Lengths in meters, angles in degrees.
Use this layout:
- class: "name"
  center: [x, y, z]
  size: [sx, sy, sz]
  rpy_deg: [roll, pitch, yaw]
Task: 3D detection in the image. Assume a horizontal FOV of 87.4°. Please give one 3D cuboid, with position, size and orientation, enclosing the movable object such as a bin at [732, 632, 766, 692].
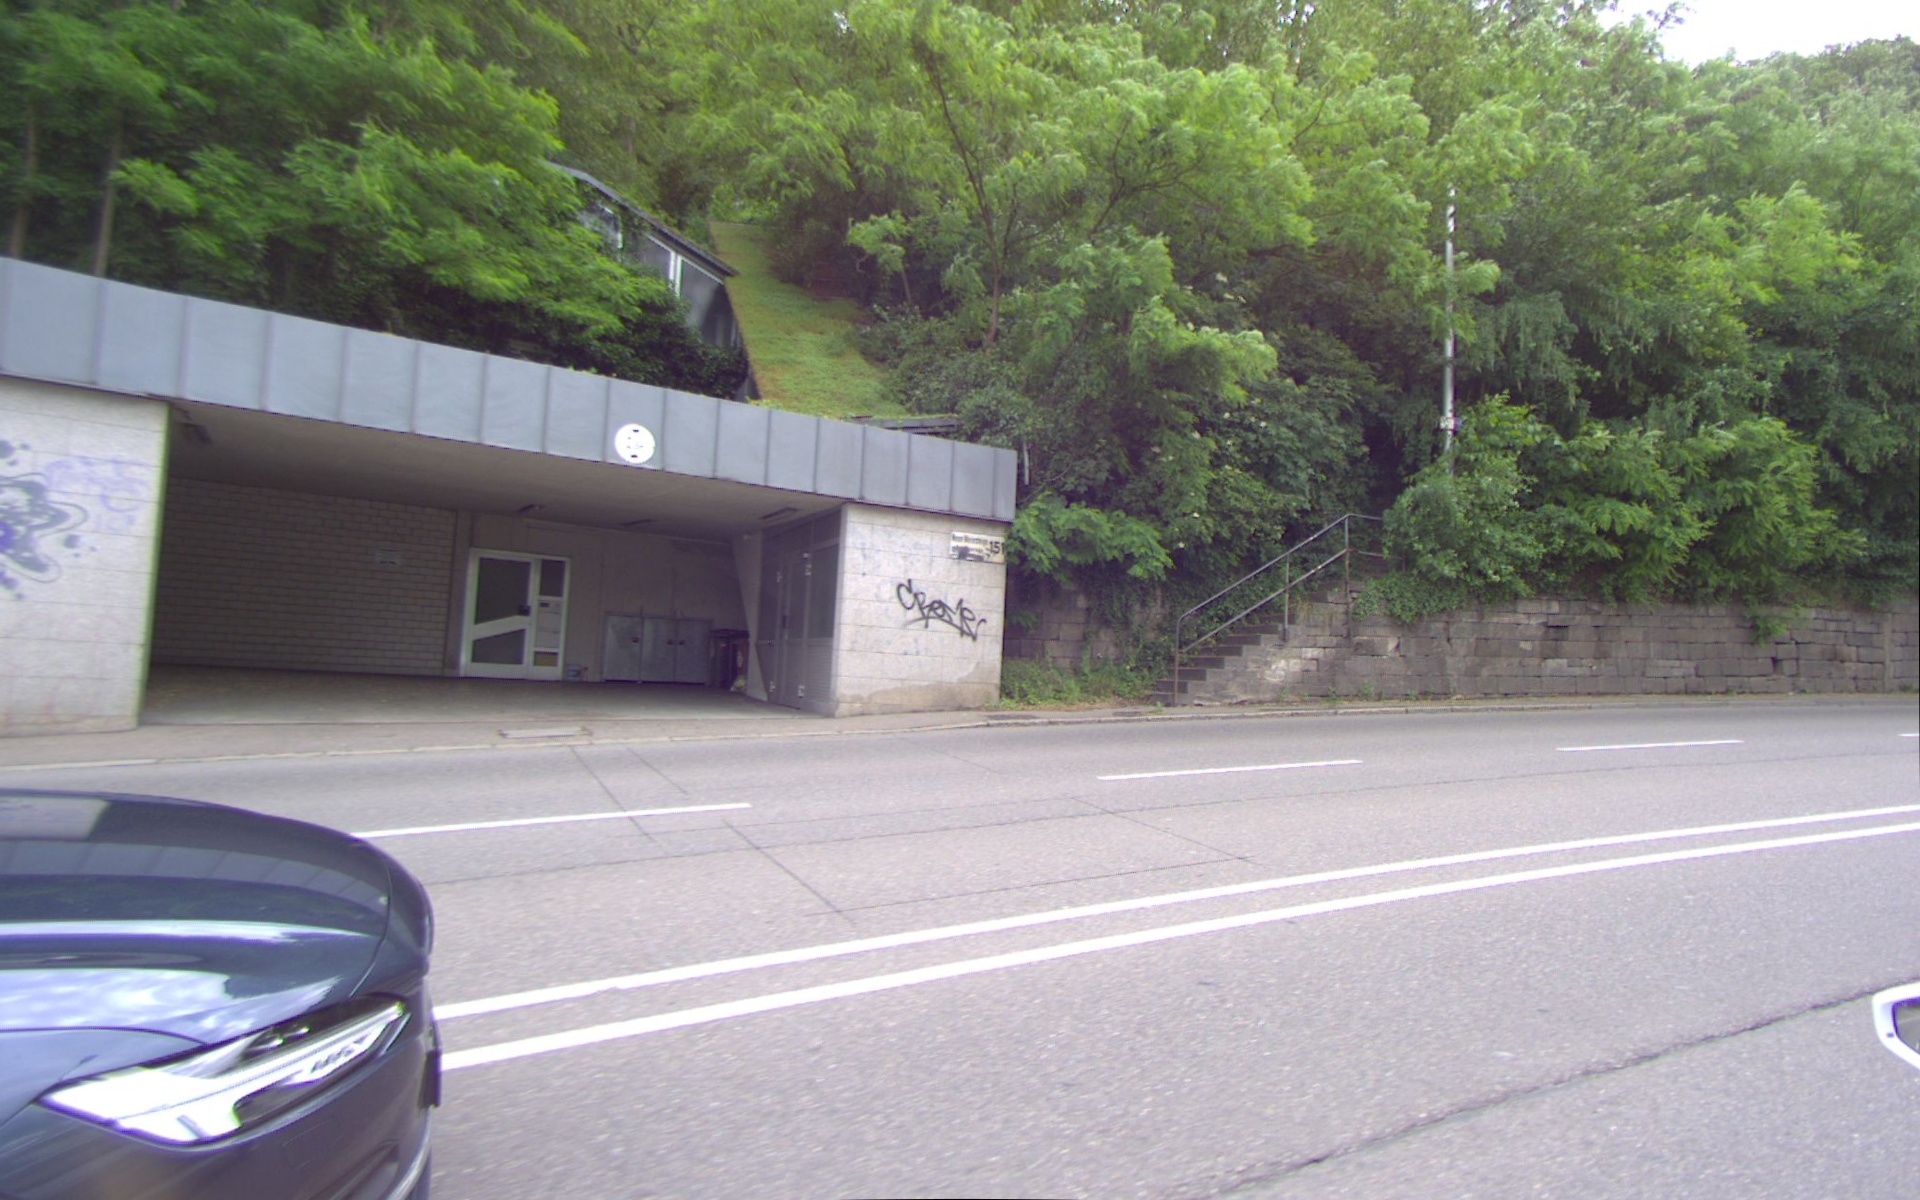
- class: "movable object such as a bin"
  center: [-3.726, 1.098, 17.736]
  size: [0.490, 1.010, 0.426]
  rpy_deg: [2, 1, -19]

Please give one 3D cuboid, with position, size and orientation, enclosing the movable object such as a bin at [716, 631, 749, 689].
- class: "movable object such as a bin"
  center: [-4.106, 1.075, 18.129]
  size: [0.501, 1.010, 0.426]
  rpy_deg: [2, 1, -19]

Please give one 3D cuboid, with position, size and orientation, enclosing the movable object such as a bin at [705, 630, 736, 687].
- class: "movable object such as a bin"
  center: [-4.475, 1.092, 18.754]
  size: [0.471, 1.010, 0.495]
  rpy_deg: [2, 1, -19]

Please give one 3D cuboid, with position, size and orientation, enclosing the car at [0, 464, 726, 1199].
- class: "car"
  center: [-2.984, 0.563, 1.018]
  size: [4.976, 1.597, 1.922]
  rpy_deg: [2, 1, -35]
